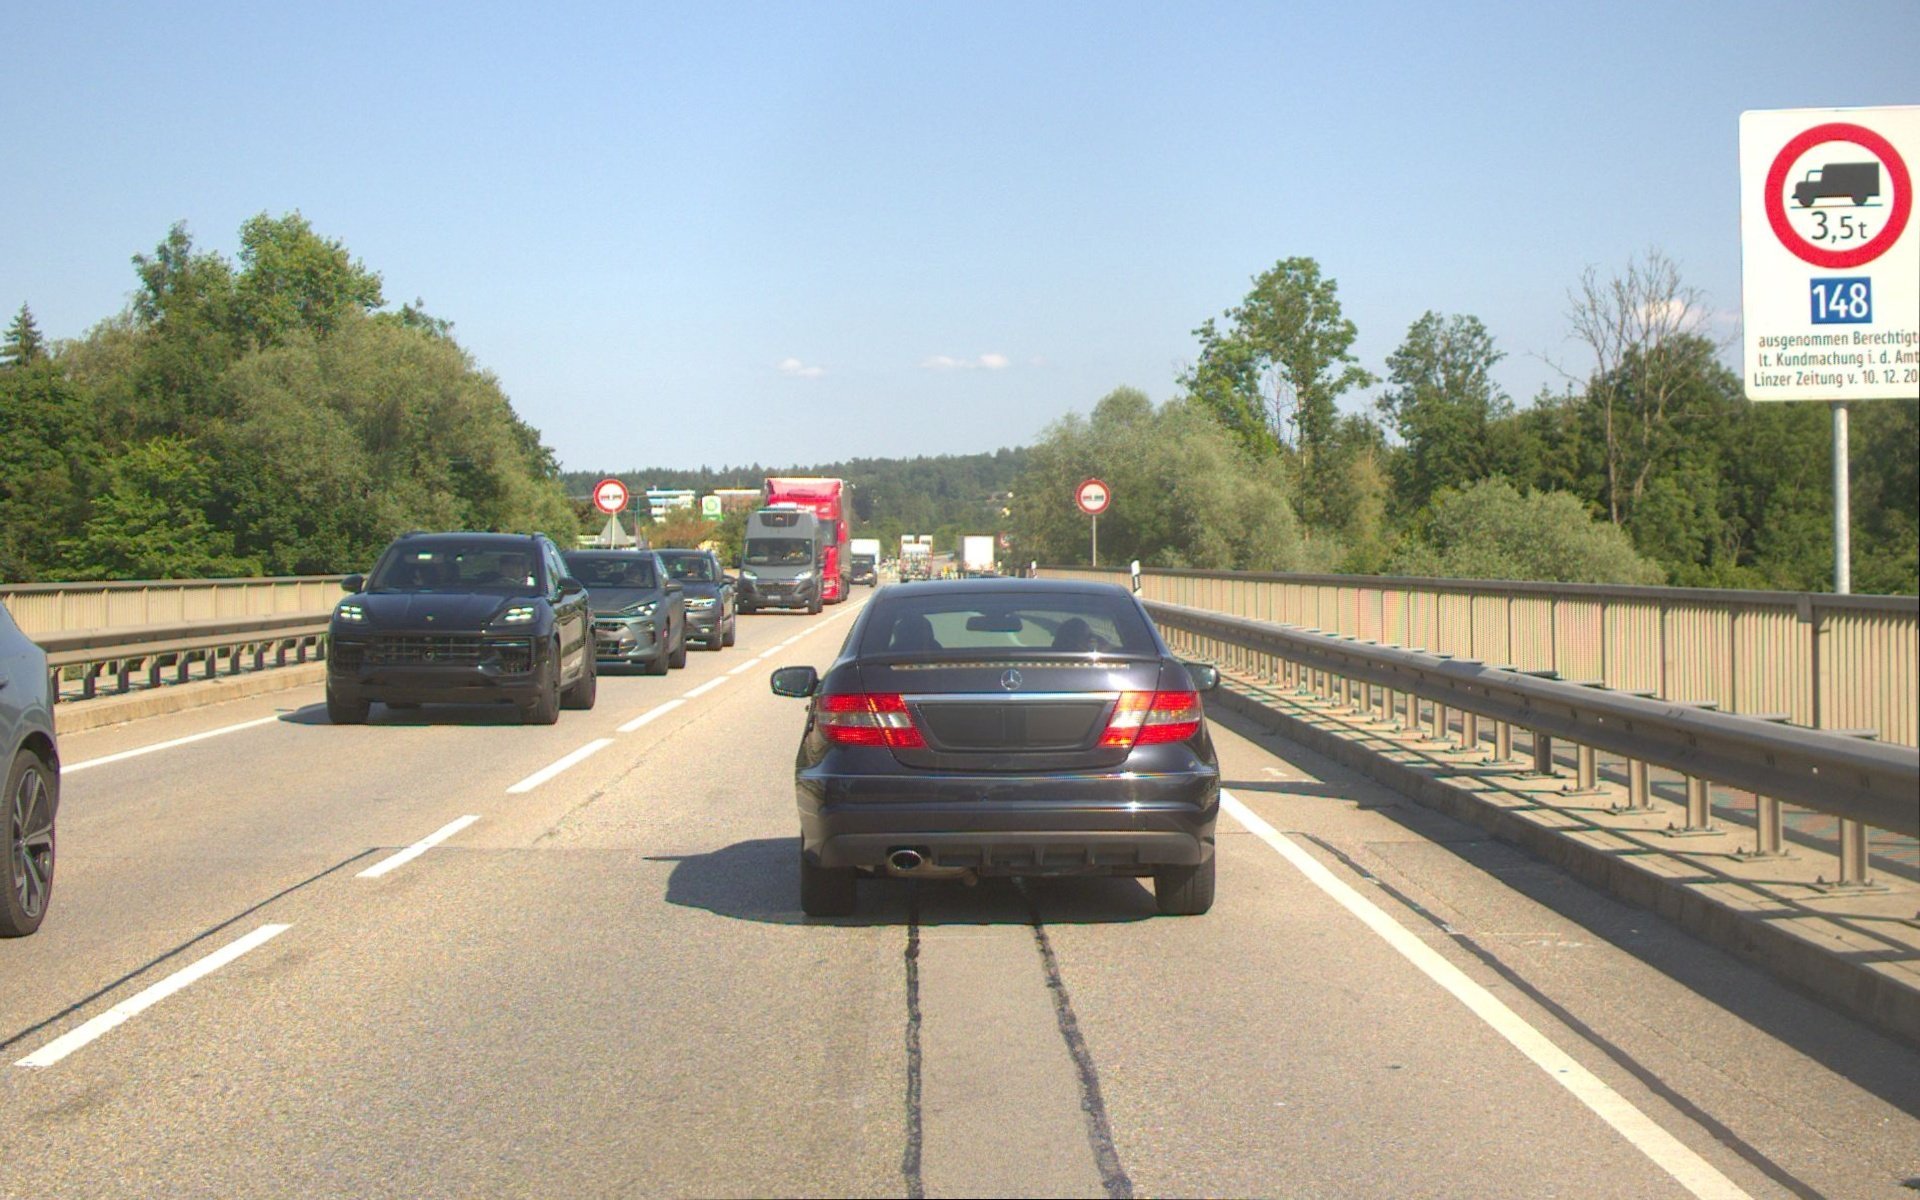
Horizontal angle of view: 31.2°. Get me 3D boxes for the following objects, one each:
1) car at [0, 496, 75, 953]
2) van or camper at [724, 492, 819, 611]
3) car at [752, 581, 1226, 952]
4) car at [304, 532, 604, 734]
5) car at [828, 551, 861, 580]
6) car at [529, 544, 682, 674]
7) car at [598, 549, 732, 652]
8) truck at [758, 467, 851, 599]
[{"bbox_3d":[-4.514,0.479,11.774,1.854,1.716,4.566,0,1,-1],"label":"car"},{"bbox_3d":[-4.950,-1.289,91.216,2.315,3.040,6.818,0,1,-2],"label":"van or camper"},{"bbox_3d":[0.132,0.625,15.127,1.793,1.371,4.000,1,1,1],"label":"car"},{"bbox_3d":[-4.518,0.276,31.409,2.053,1.647,4.721,2,0,-1],"label":"car"},{"bbox_3d":[-6.692,-1.999,198.094,1.841,1.636,4.577,0,1,-3],"label":"car"},{"bbox_3d":[-4.512,0.079,44.242,1.806,1.572,4.202,1,1,-4],"label":"car"},{"bbox_3d":[-4.746,-0.016,55.732,1.874,1.578,4.274,1,1,-1],"label":"car"},{"bbox_3d":[-5.140,-2.182,112.958,2.907,4.170,5.714,1,1,-4],"label":"truck"}]
